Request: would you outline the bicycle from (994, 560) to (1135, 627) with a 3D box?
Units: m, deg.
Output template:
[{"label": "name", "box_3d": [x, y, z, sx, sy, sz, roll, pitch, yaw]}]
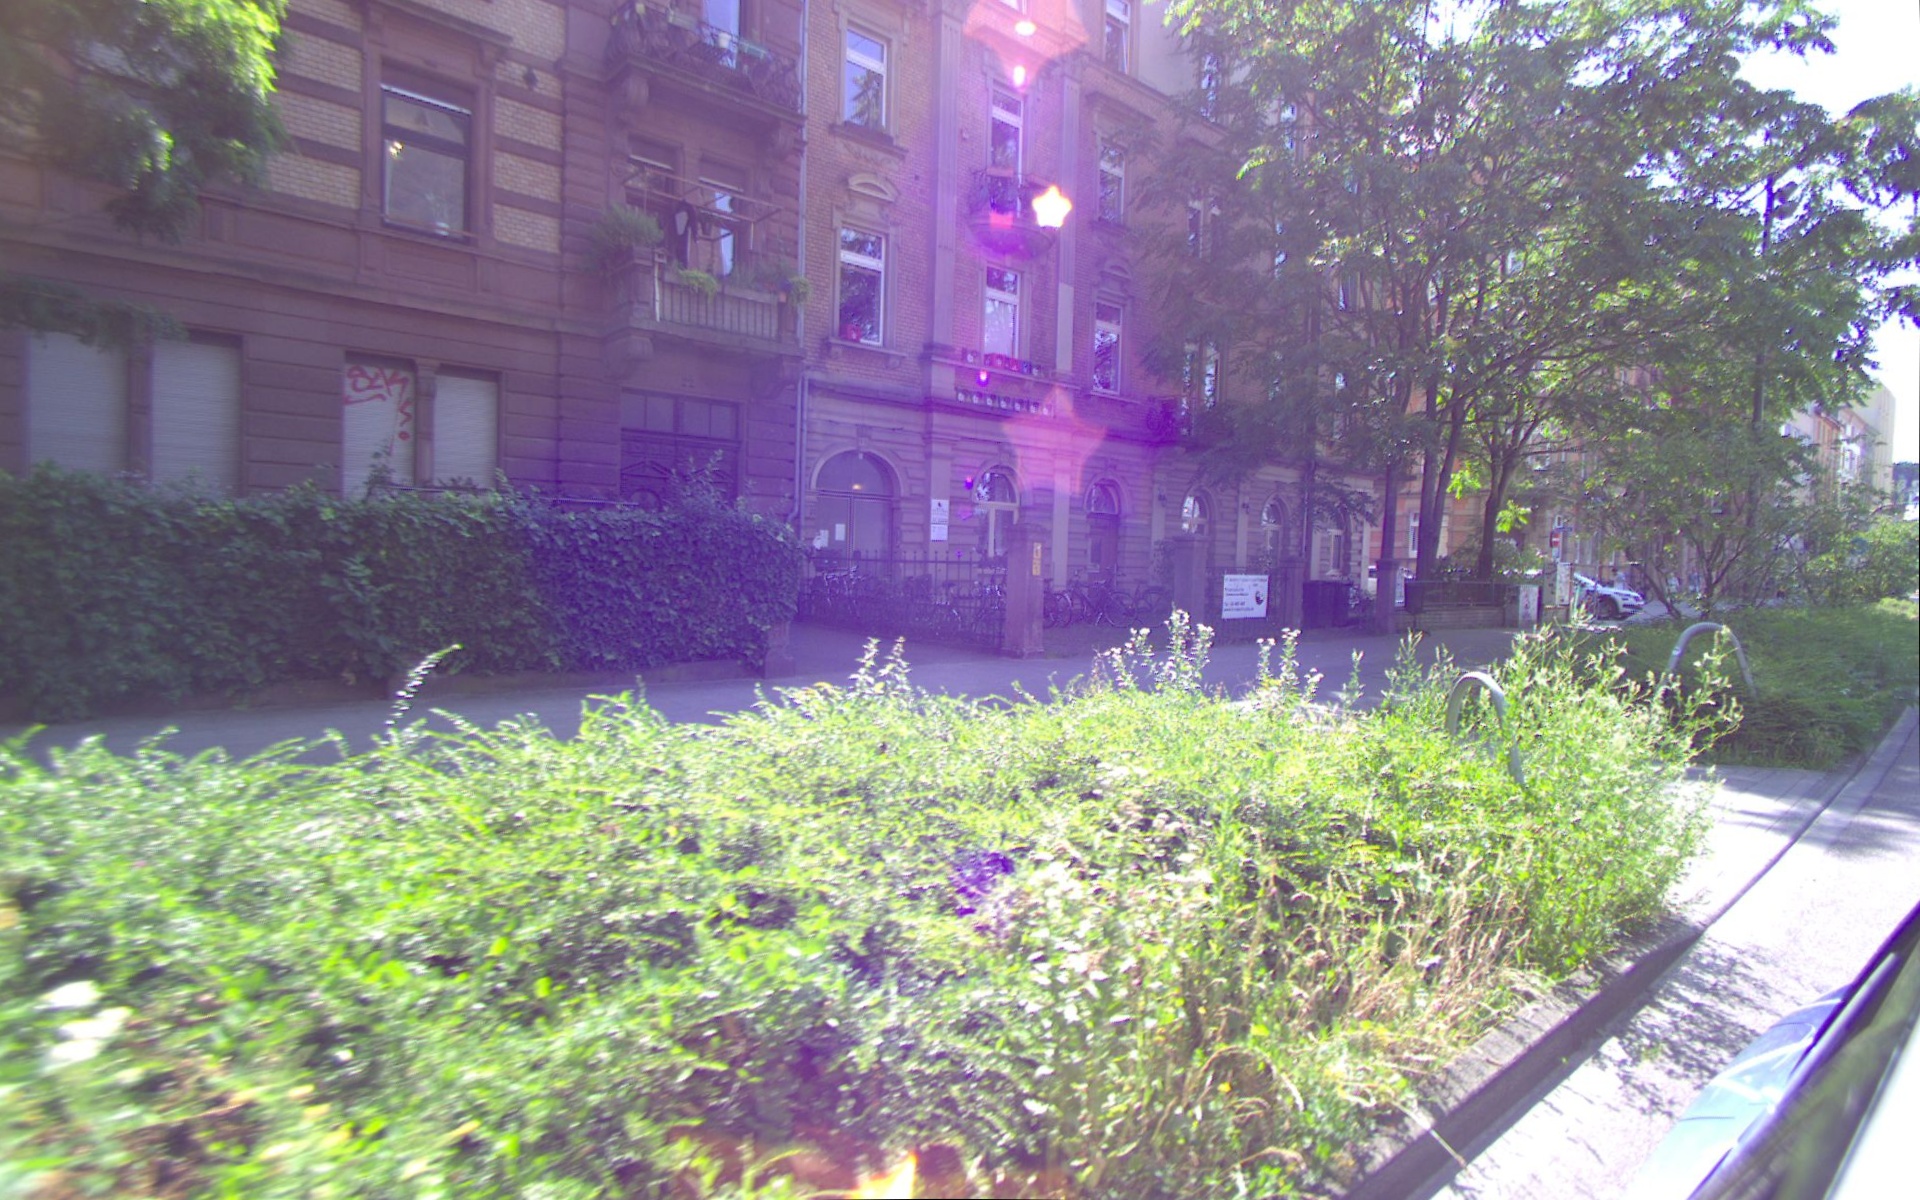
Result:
[{"label": "bicycle", "box_3d": [1.969, -0.149, 19.237, 2.560, 1.125, 0.765, 3, 3, 30]}]

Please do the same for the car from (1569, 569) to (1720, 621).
[{"label": "car", "box_3d": [23.390, -0.228, 34.642, 4.077, 1.535, 1.860, 4, 3, 41]}]

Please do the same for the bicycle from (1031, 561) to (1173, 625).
[{"label": "bicycle", "box_3d": [2.822, -0.170, 20.156, 2.560, 1.125, 1.101, 3, 3, 30]}]

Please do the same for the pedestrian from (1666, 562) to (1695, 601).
[{"label": "pedestrian", "box_3d": [32.408, -0.831, 45.531, 0.951, 1.739, 0.796, 0, 3, -41]}]

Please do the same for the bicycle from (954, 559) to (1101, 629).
[{"label": "bicycle", "box_3d": [1.214, -0.137, 18.504, 2.555, 1.125, 0.767, 3, 3, 26]}]
